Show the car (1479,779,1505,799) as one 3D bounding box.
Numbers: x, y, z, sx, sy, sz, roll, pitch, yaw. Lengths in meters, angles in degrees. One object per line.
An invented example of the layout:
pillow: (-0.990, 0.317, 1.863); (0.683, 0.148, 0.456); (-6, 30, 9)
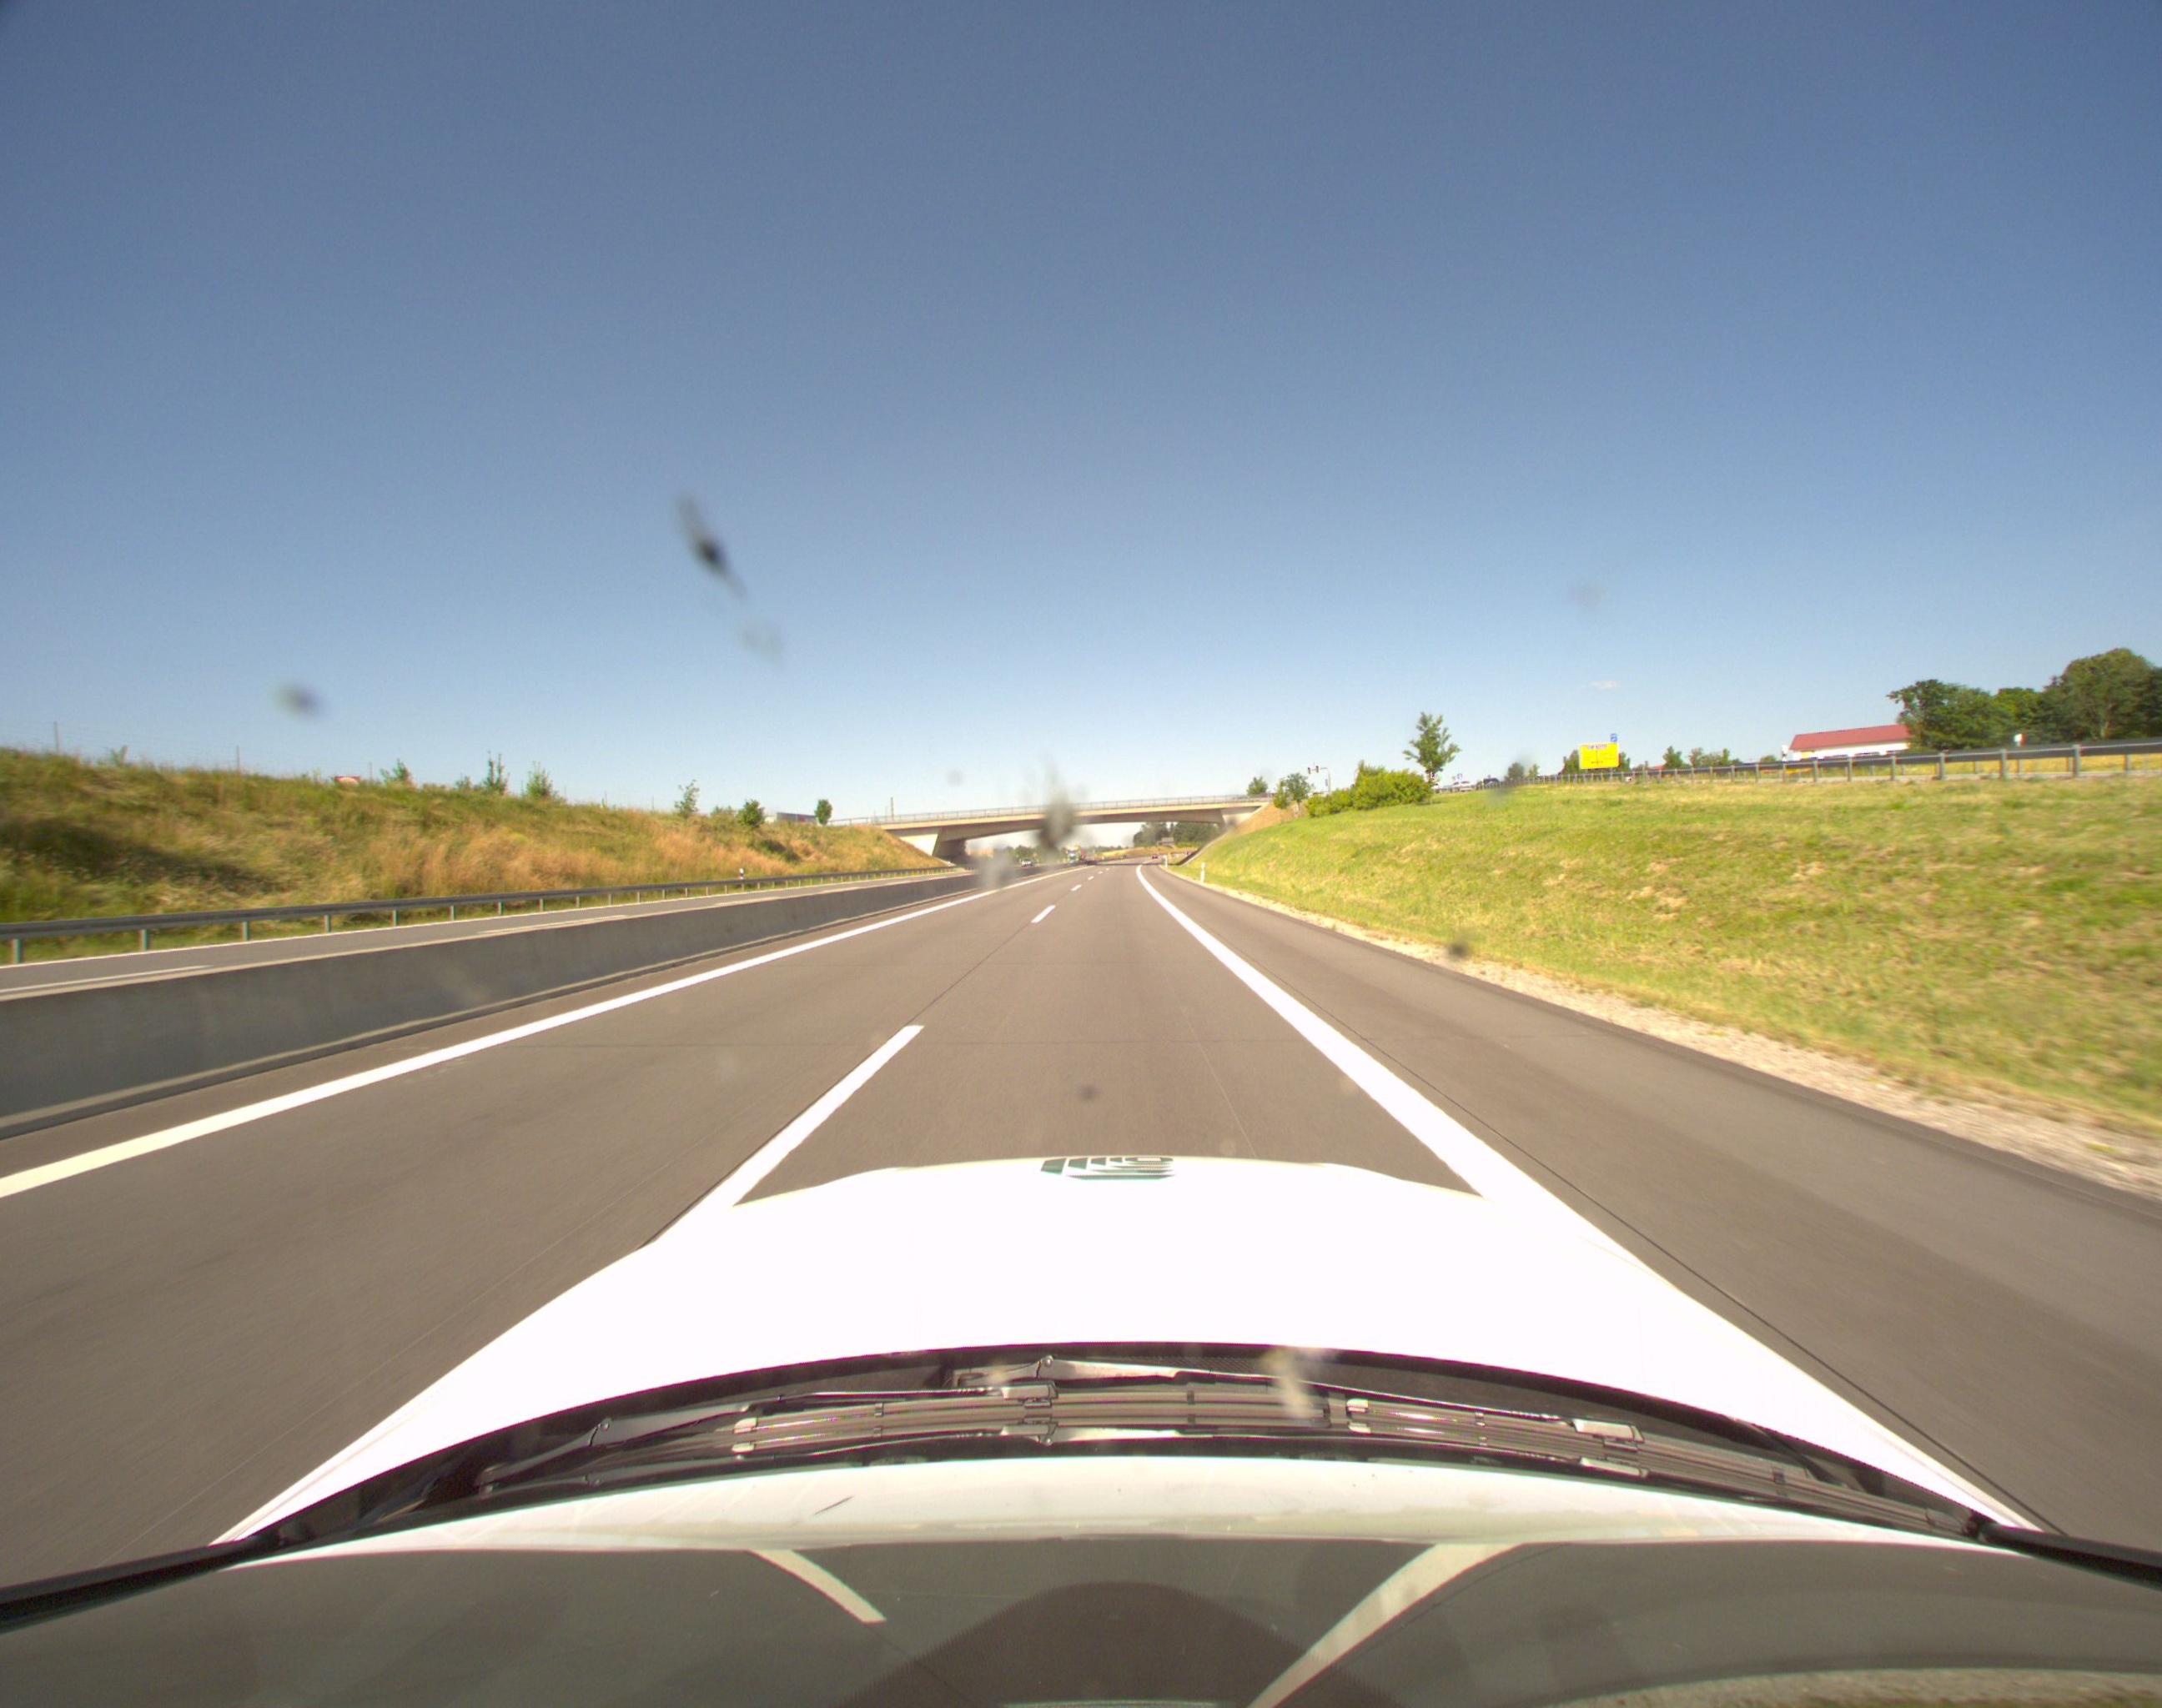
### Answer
car: (49.944, -7.860, 99.058); (1.978, 2.013, 4.017); (-3, 0, 16)

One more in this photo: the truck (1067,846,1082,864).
truck: (-1.480, 0.244, 179.984); (2.722, 3.832, 5.838); (-1, 0, 4)

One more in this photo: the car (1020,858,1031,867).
car: (-9.719, 1.518, 142.917); (1.857, 1.531, 4.564); (-2, 0, -3)

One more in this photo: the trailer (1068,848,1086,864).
trailer: (-0.885, 0.453, 186.683); (2.652, 3.657, 13.255); (-1, 0, 5)

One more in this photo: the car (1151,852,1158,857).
car: (22.376, 0.152, 246.722); (1.984, 1.420, 4.005); (-3, 0, 4)

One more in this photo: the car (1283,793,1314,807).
car: (33.413, -8.295, 125.196); (4.116, 1.881, 1.997); (-3, 1, -5)

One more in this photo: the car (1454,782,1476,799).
car: (50.560, -8.336, 107.284); (1.978, 2.013, 4.017); (-1, 0, 16)
